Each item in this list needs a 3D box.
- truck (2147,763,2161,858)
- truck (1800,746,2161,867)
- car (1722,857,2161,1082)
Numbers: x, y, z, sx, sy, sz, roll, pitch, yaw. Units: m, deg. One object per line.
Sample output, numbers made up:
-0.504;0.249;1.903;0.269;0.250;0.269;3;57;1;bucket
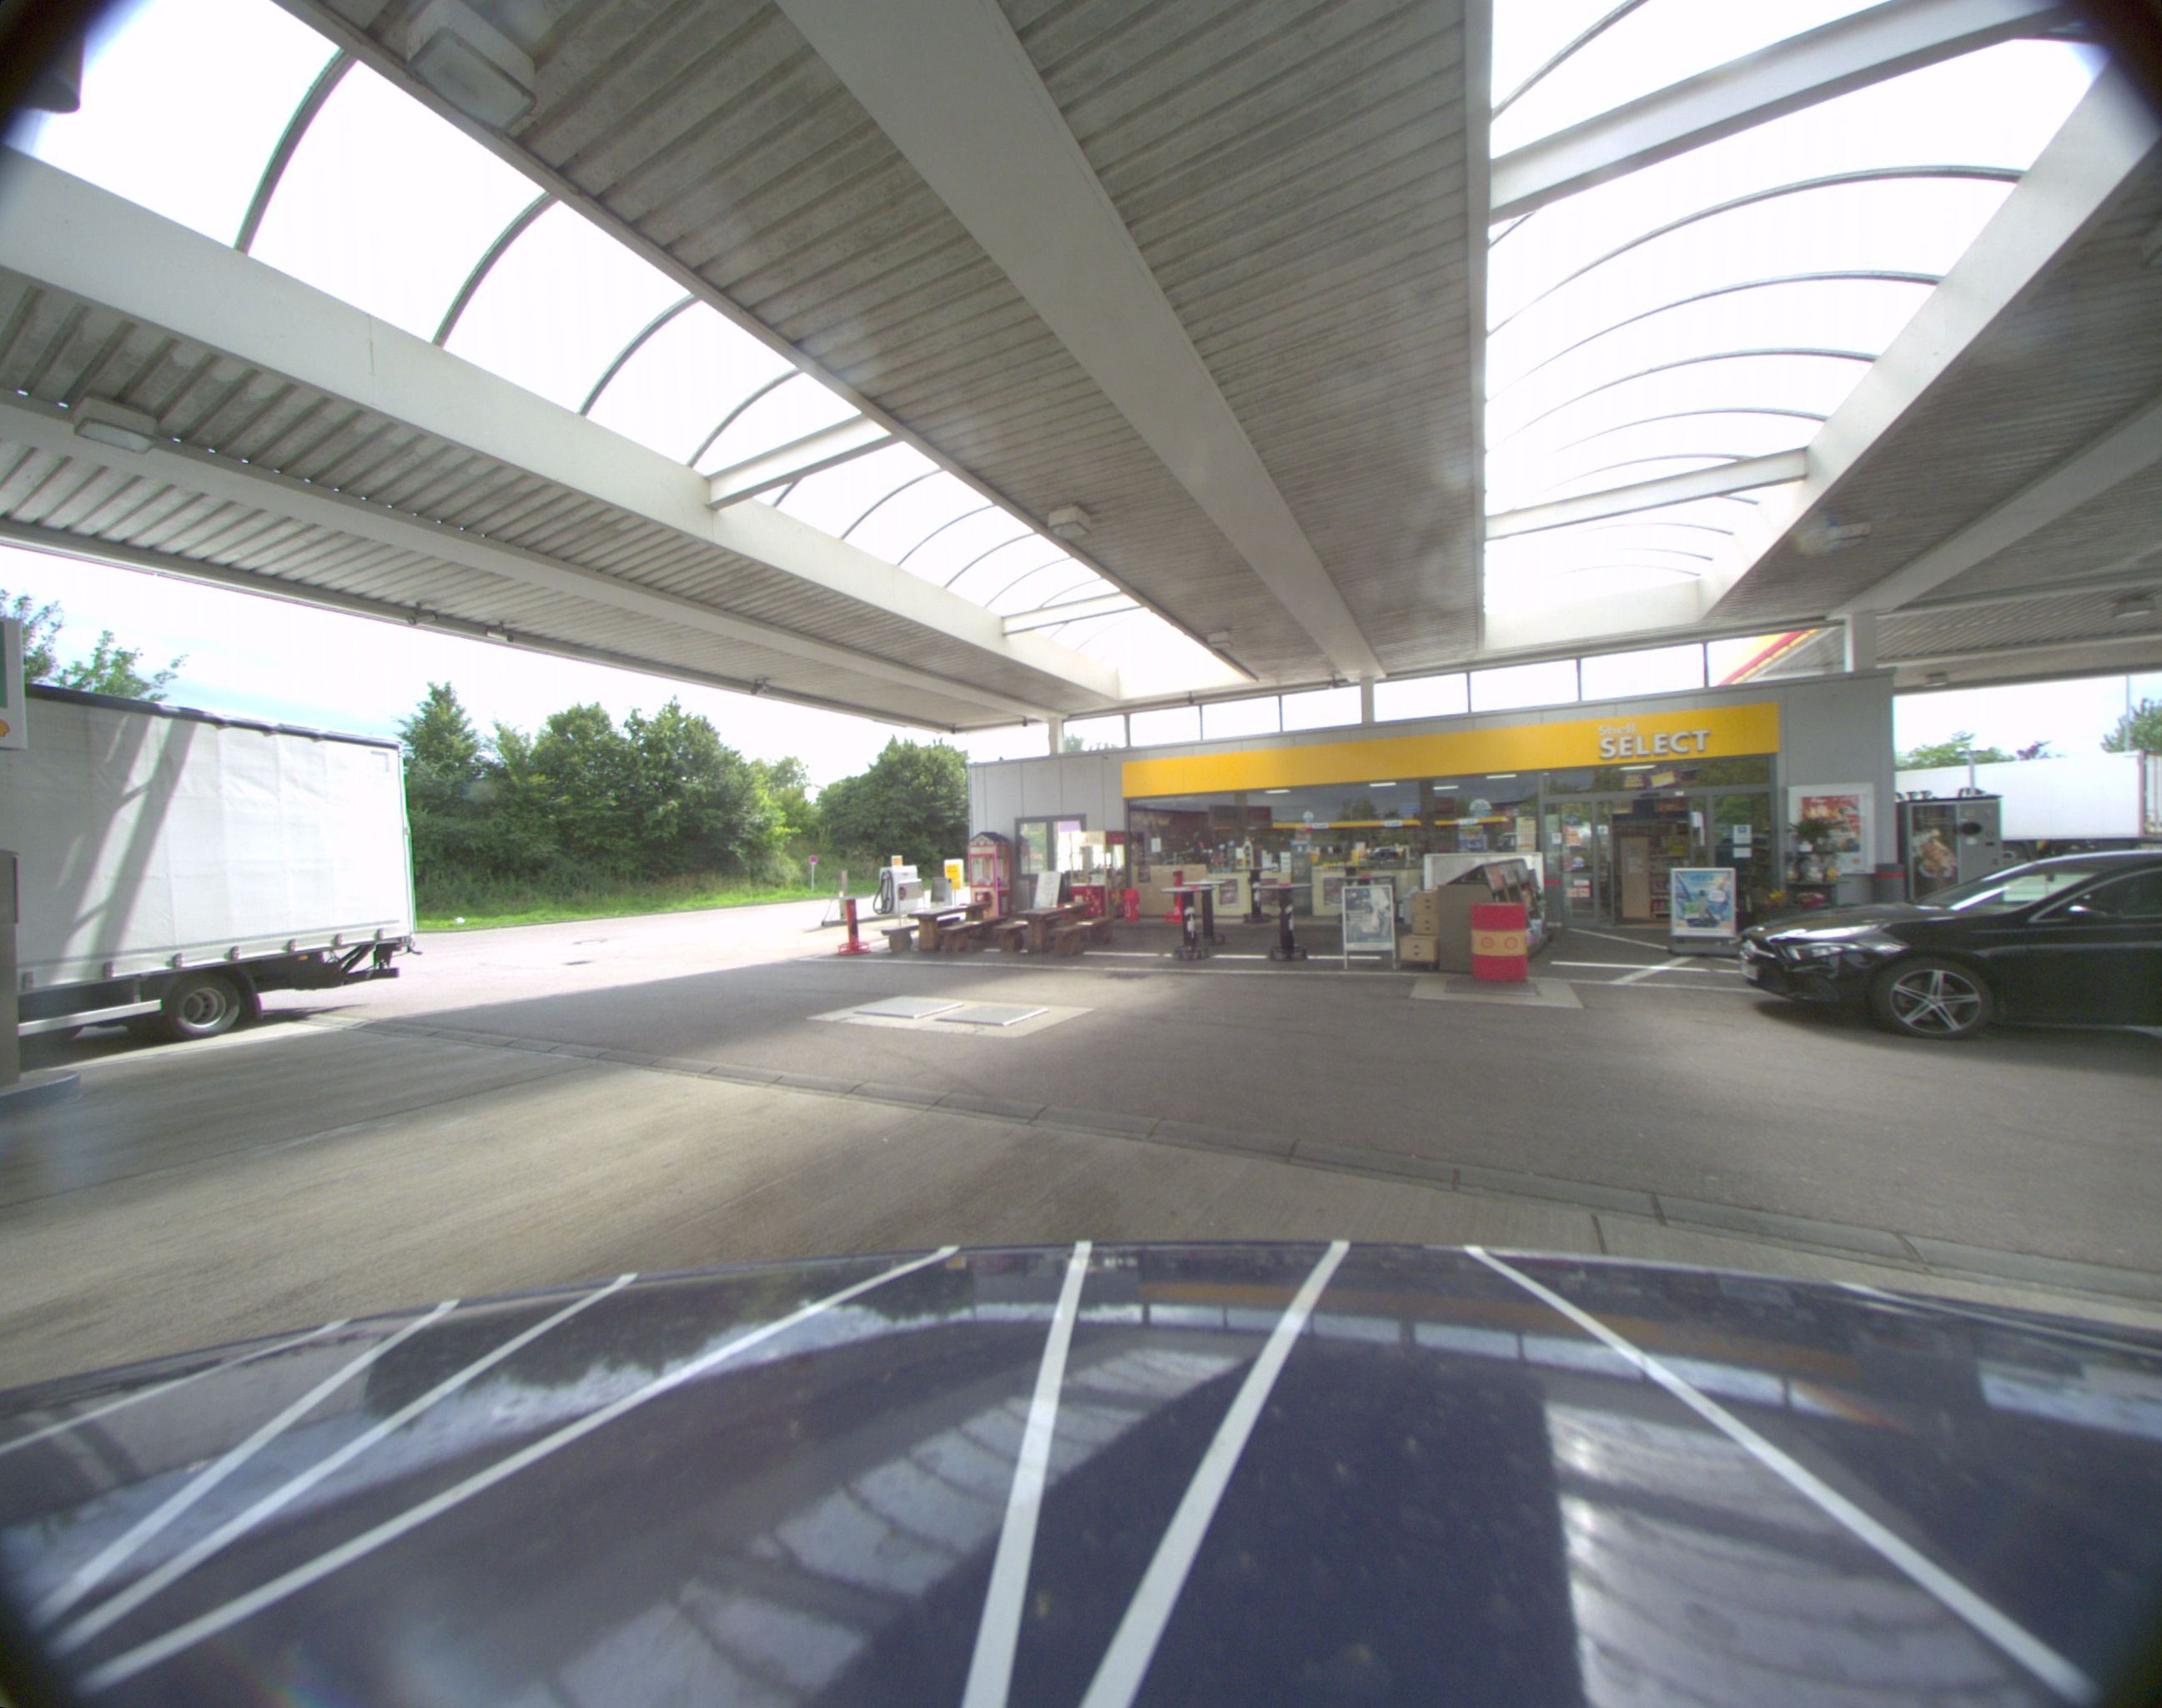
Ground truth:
51.463;-2.033;33.145;3.383;4.479;6.239;-2;1;29;truck
35.115;-1.608;30.063;2.796;3.982;9.578;-2;1;-16;truck
8.142;0.813;5.964;4.461;1.491;1.782;-2;1;28;car
